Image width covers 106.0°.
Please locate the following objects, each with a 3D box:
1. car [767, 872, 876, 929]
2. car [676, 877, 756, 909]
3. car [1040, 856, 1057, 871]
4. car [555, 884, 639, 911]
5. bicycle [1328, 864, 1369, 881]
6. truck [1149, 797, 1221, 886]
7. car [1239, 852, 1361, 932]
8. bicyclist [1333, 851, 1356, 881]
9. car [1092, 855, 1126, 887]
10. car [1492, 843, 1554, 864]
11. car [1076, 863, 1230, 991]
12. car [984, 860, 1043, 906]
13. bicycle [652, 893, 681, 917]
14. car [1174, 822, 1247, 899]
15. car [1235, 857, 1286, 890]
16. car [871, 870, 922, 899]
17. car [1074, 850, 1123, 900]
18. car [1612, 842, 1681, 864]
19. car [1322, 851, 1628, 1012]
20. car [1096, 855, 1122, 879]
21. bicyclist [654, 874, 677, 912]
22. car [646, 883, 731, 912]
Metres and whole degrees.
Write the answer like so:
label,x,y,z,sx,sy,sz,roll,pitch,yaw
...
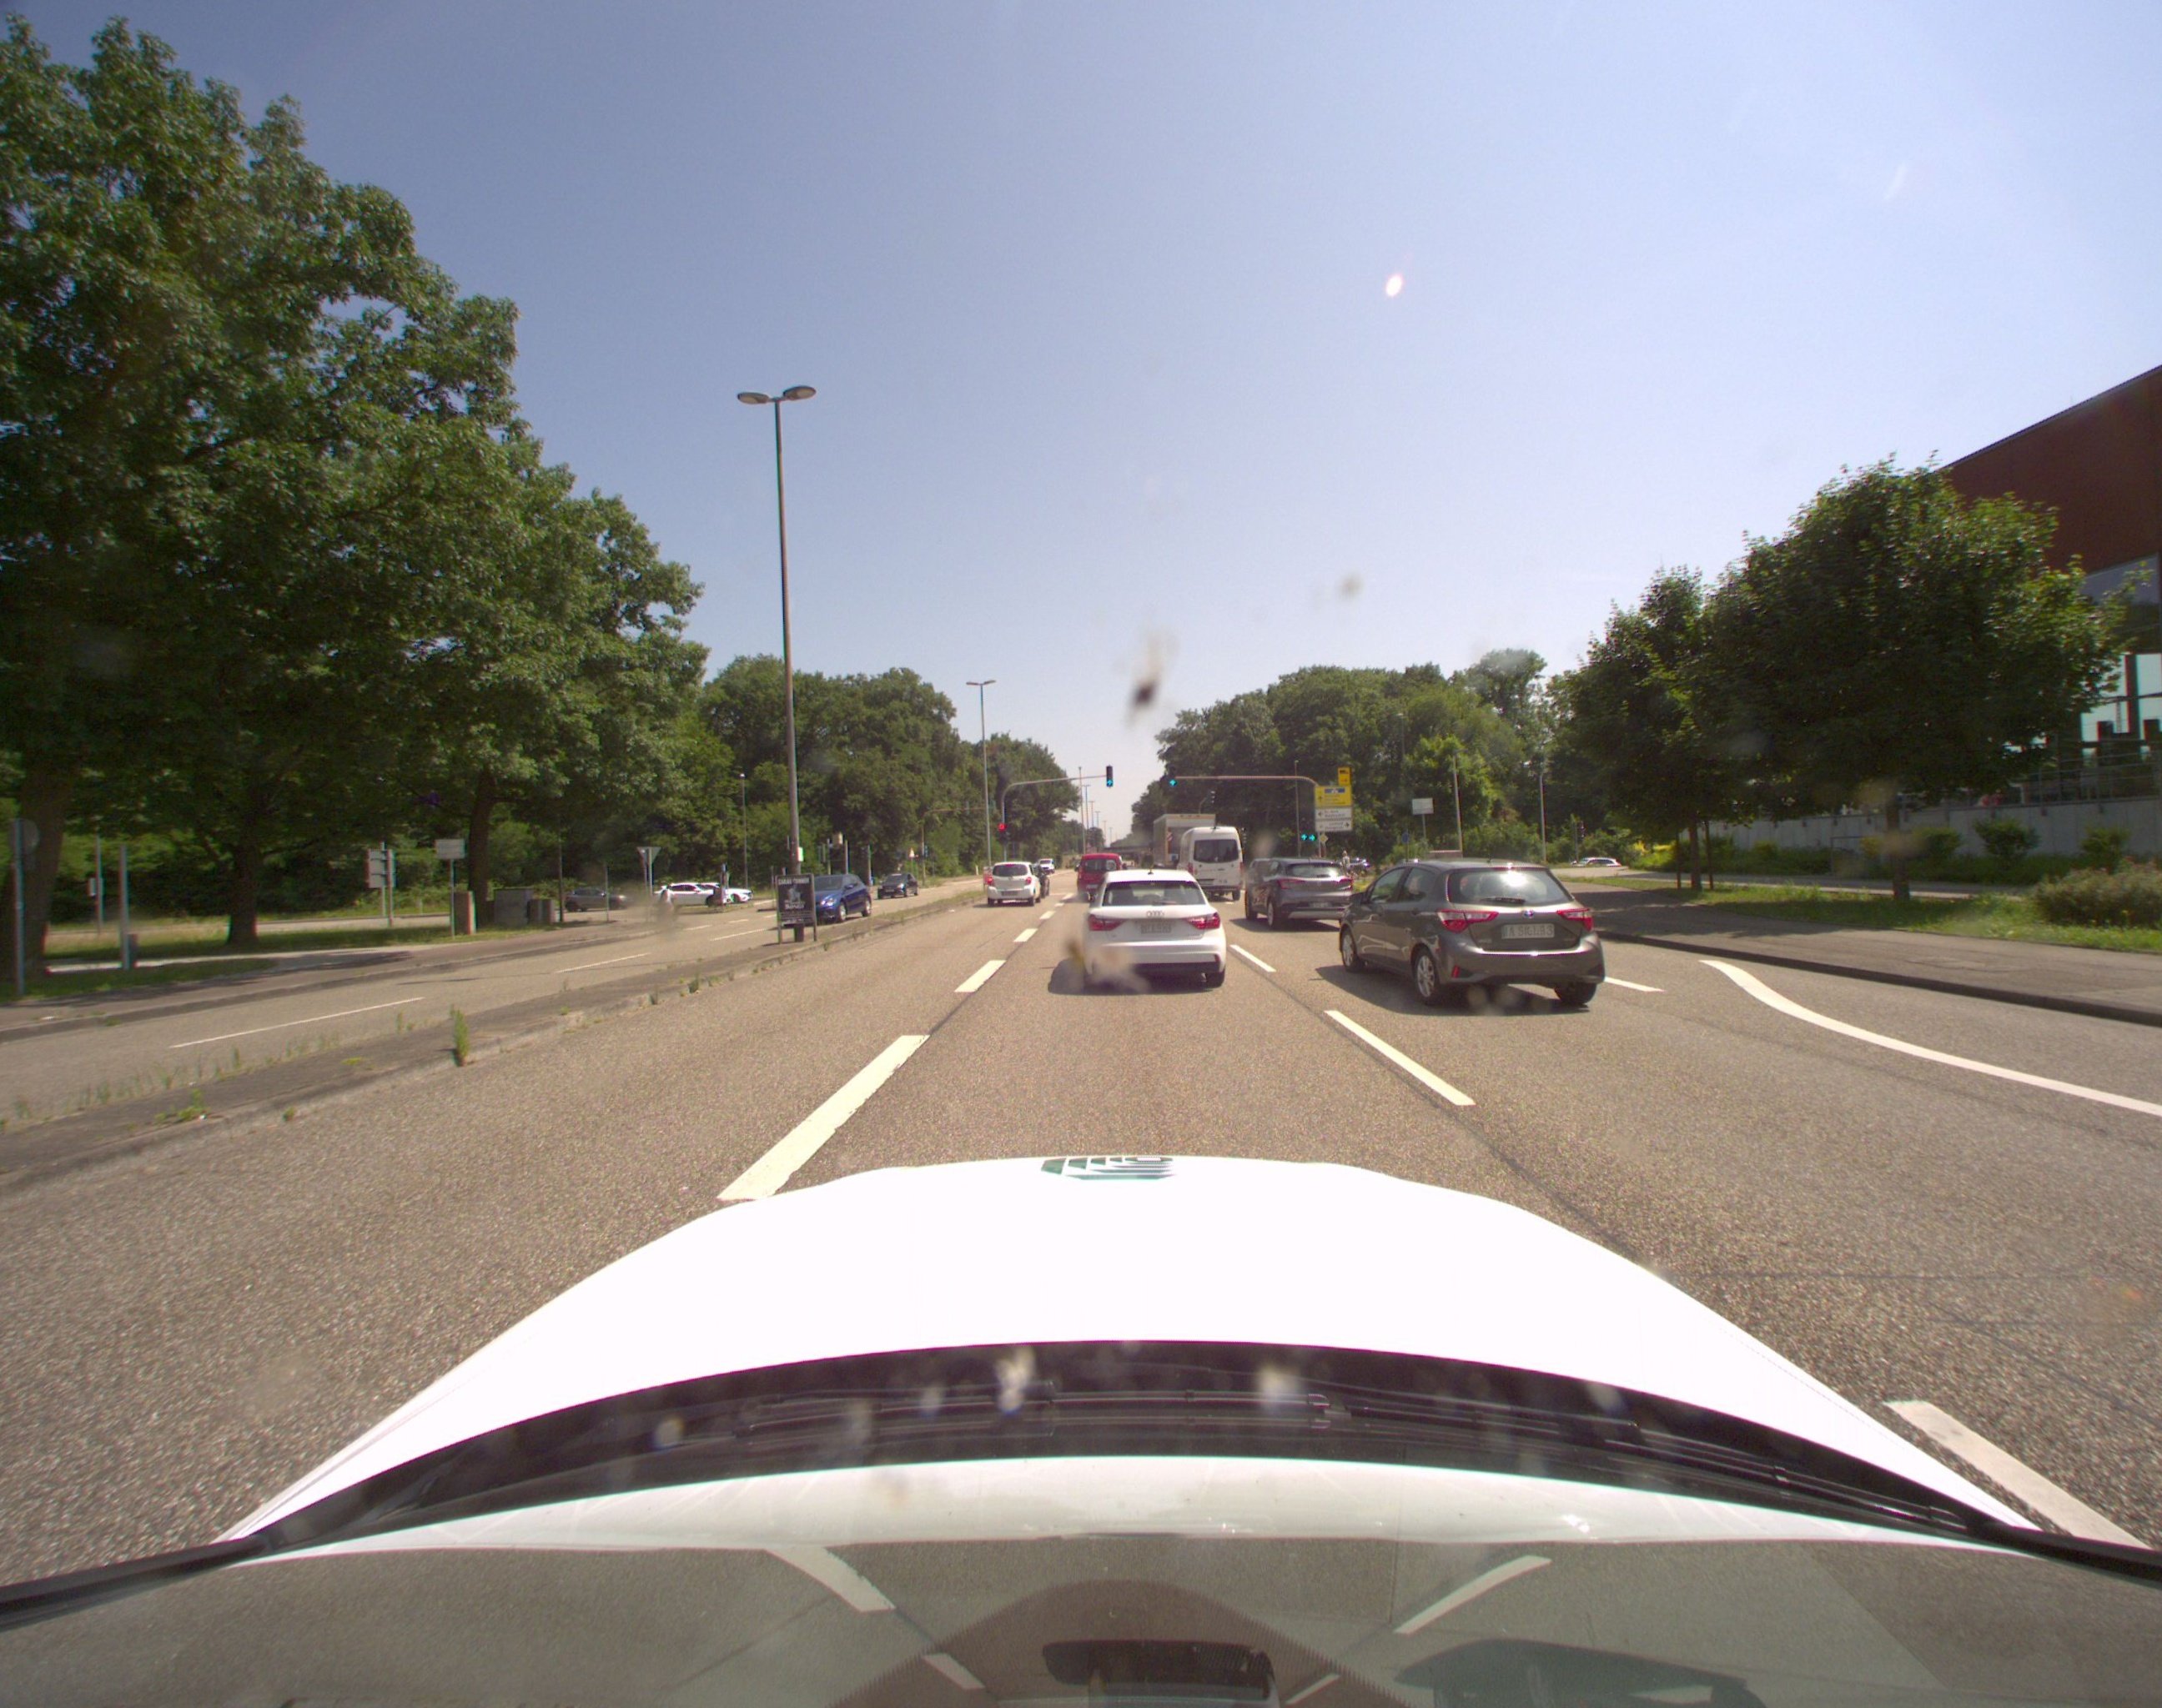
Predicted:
label,x,y,z,sx,sy,sz,roll,pitch,yaw
car,-7.673,1.325,24.528,1.798,1.335,4.001,-6,-1,1
car,-24.396,2.597,54.507,4.366,1.681,1.807,-6,-1,-6
car,-4.242,1.275,106.714,1.865,1.861,4.001,-2,-1,1
car,-32.025,2.851,53.956,4.370,1.681,1.805,0,-1,-9
bicycle,12.872,0.918,39.261,0.604,0.766,1.805,-2,-1,-43
truck,5.682,-0.606,46.635,3.076,4.434,11.586,-1,0,2
car,4.863,0.796,18.636,1.706,1.593,4.092,-1,0,1
bicyclist,12.743,0.582,39.388,0.602,1.439,0.819,-2,-1,-43
car,1.478,0.914,44.505,1.706,1.631,4.092,-1,0,1
car,34.864,-0.042,64.283,3.970,1.464,1.676,-3,-1,3
car,0.841,0.843,11.213,1.706,1.386,4.092,-1,0,1
car,-2.348,0.979,29.279,1.706,1.493,4.092,-1,0,1
bicycle,-18.454,2.265,36.284,0.617,0.969,1.655,-2,-1,-8
car,4.784,0.251,30.776,2.023,2.644,4.846,-1,-1,1
car,8.997,0.942,41.151,1.706,1.546,4.092,-1,0,1
car,-10.590,1.732,47.019,1.798,1.335,4.001,-6,-1,1
car,0.652,0.774,31.083,1.706,1.748,4.092,-1,0,1
car,42.783,-0.043,61.642,3.970,1.464,1.676,-3,-1,3
car,4.324,0.743,9.720,1.706,1.478,4.092,1,0,1
car,1.983,0.894,58.638,1.706,1.631,4.092,-1,0,1
bicyclist,-18.490,1.710,36.270,0.607,1.630,0.921,-2,-1,-8
car,-24.352,2.663,50.681,4.365,1.681,1.807,0,-1,-6
